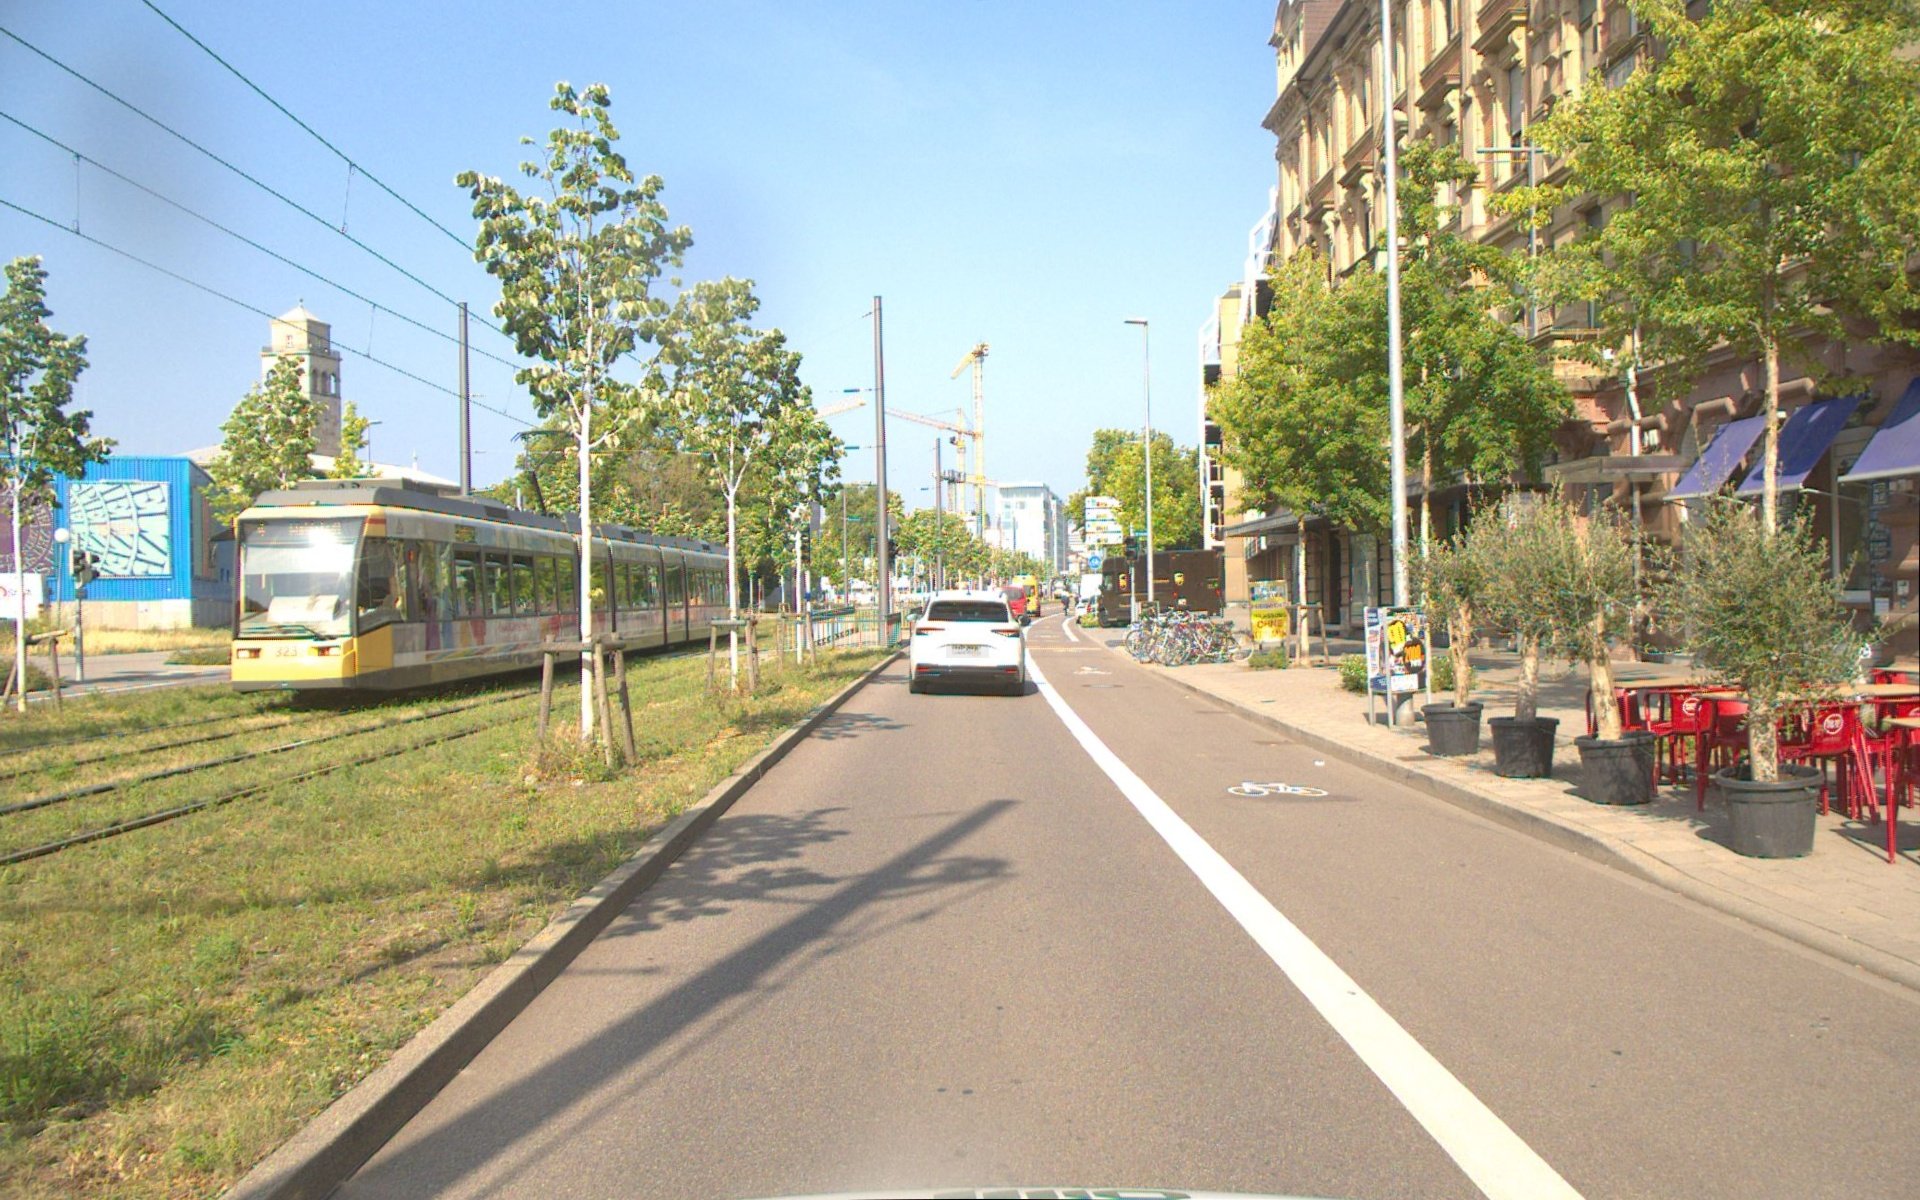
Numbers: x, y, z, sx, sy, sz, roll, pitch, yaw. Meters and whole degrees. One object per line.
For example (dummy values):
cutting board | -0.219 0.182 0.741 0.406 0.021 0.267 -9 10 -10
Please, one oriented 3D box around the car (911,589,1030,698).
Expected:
car | 0.113 0.653 26.938 1.780 1.617 4.405 0 0 -1

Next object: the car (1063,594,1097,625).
car | 6.118 0.452 84.036 1.615 1.525 3.529 -1 0 6

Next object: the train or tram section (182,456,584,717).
train or tram section | -9.667 -0.160 29.895 2.839 3.649 12.476 -1 0 0

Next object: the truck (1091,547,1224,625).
truck | 8.179 -0.557 69.384 2.476 3.064 6.911 -1 0 -22

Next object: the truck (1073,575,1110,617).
truck | 8.083 -0.256 101.912 1.952 2.552 4.000 -1 0 1

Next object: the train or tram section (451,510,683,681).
train or tram section | -9.668 -0.065 42.601 2.839 3.649 12.932 -1 0 0

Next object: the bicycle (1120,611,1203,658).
bicycle | 4.809 0.823 39.599 1.894 1.030 0.441 -3 0 3

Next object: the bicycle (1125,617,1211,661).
bicycle | 4.821 0.905 38.390 1.895 0.889 0.441 -3 0 0

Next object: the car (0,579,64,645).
car | -41.489 0.452 69.103 6.779 2.685 2.497 2 -1 -23

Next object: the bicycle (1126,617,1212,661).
bicycle | 4.792 0.901 37.945 1.895 0.889 0.441 -3 0 0

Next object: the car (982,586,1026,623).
car | 2.188 0.213 80.803 1.952 1.713 4.371 -1 0 4

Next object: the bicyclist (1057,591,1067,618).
bicyclist | 7.426 0.343 120.585 0.694 1.929 0.843 -1 0 0

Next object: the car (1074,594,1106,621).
car | 6.941 0.385 88.236 1.615 1.409 3.529 -1 0 6

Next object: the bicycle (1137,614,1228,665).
bicycle | 4.864 0.859 36.265 1.895 1.003 0.471 -3 0 0

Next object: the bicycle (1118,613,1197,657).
bicycle | 4.878 0.858 40.909 1.894 0.962 0.429 -3 0 3

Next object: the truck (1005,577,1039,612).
truck | 4.246 -0.381 113.826 2.167 2.358 5.890 -1 0 1

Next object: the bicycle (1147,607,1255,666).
bicycle | 5.152 0.780 35.439 2.193 1.123 0.519 -3 0 0

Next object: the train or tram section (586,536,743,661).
train or tram section | -9.557 -0.009 55.129 2.838 3.649 12.225 -1 0 1

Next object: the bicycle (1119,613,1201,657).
bicycle | 4.832 0.850 40.046 1.894 0.962 0.441 -3 0 3

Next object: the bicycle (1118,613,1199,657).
bicycle | 4.856 0.854 40.525 1.894 0.962 0.441 -3 0 3

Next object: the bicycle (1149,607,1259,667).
bicycle | 5.137 0.775 34.884 2.193 1.123 0.588 -3 0 0

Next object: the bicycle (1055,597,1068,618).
bicycle | 7.420 0.539 120.746 0.765 1.522 2.800 -1 0 0

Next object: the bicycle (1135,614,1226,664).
bicycle | 4.882 0.863 36.746 1.915 1.003 0.471 -3 0 0

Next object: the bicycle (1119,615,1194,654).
bicycle | 5.042 0.880 42.466 1.847 0.878 0.429 -3 0 3

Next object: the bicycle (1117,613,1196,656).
bicycle | 4.916 0.862 41.352 1.894 0.962 0.429 -3 0 3
